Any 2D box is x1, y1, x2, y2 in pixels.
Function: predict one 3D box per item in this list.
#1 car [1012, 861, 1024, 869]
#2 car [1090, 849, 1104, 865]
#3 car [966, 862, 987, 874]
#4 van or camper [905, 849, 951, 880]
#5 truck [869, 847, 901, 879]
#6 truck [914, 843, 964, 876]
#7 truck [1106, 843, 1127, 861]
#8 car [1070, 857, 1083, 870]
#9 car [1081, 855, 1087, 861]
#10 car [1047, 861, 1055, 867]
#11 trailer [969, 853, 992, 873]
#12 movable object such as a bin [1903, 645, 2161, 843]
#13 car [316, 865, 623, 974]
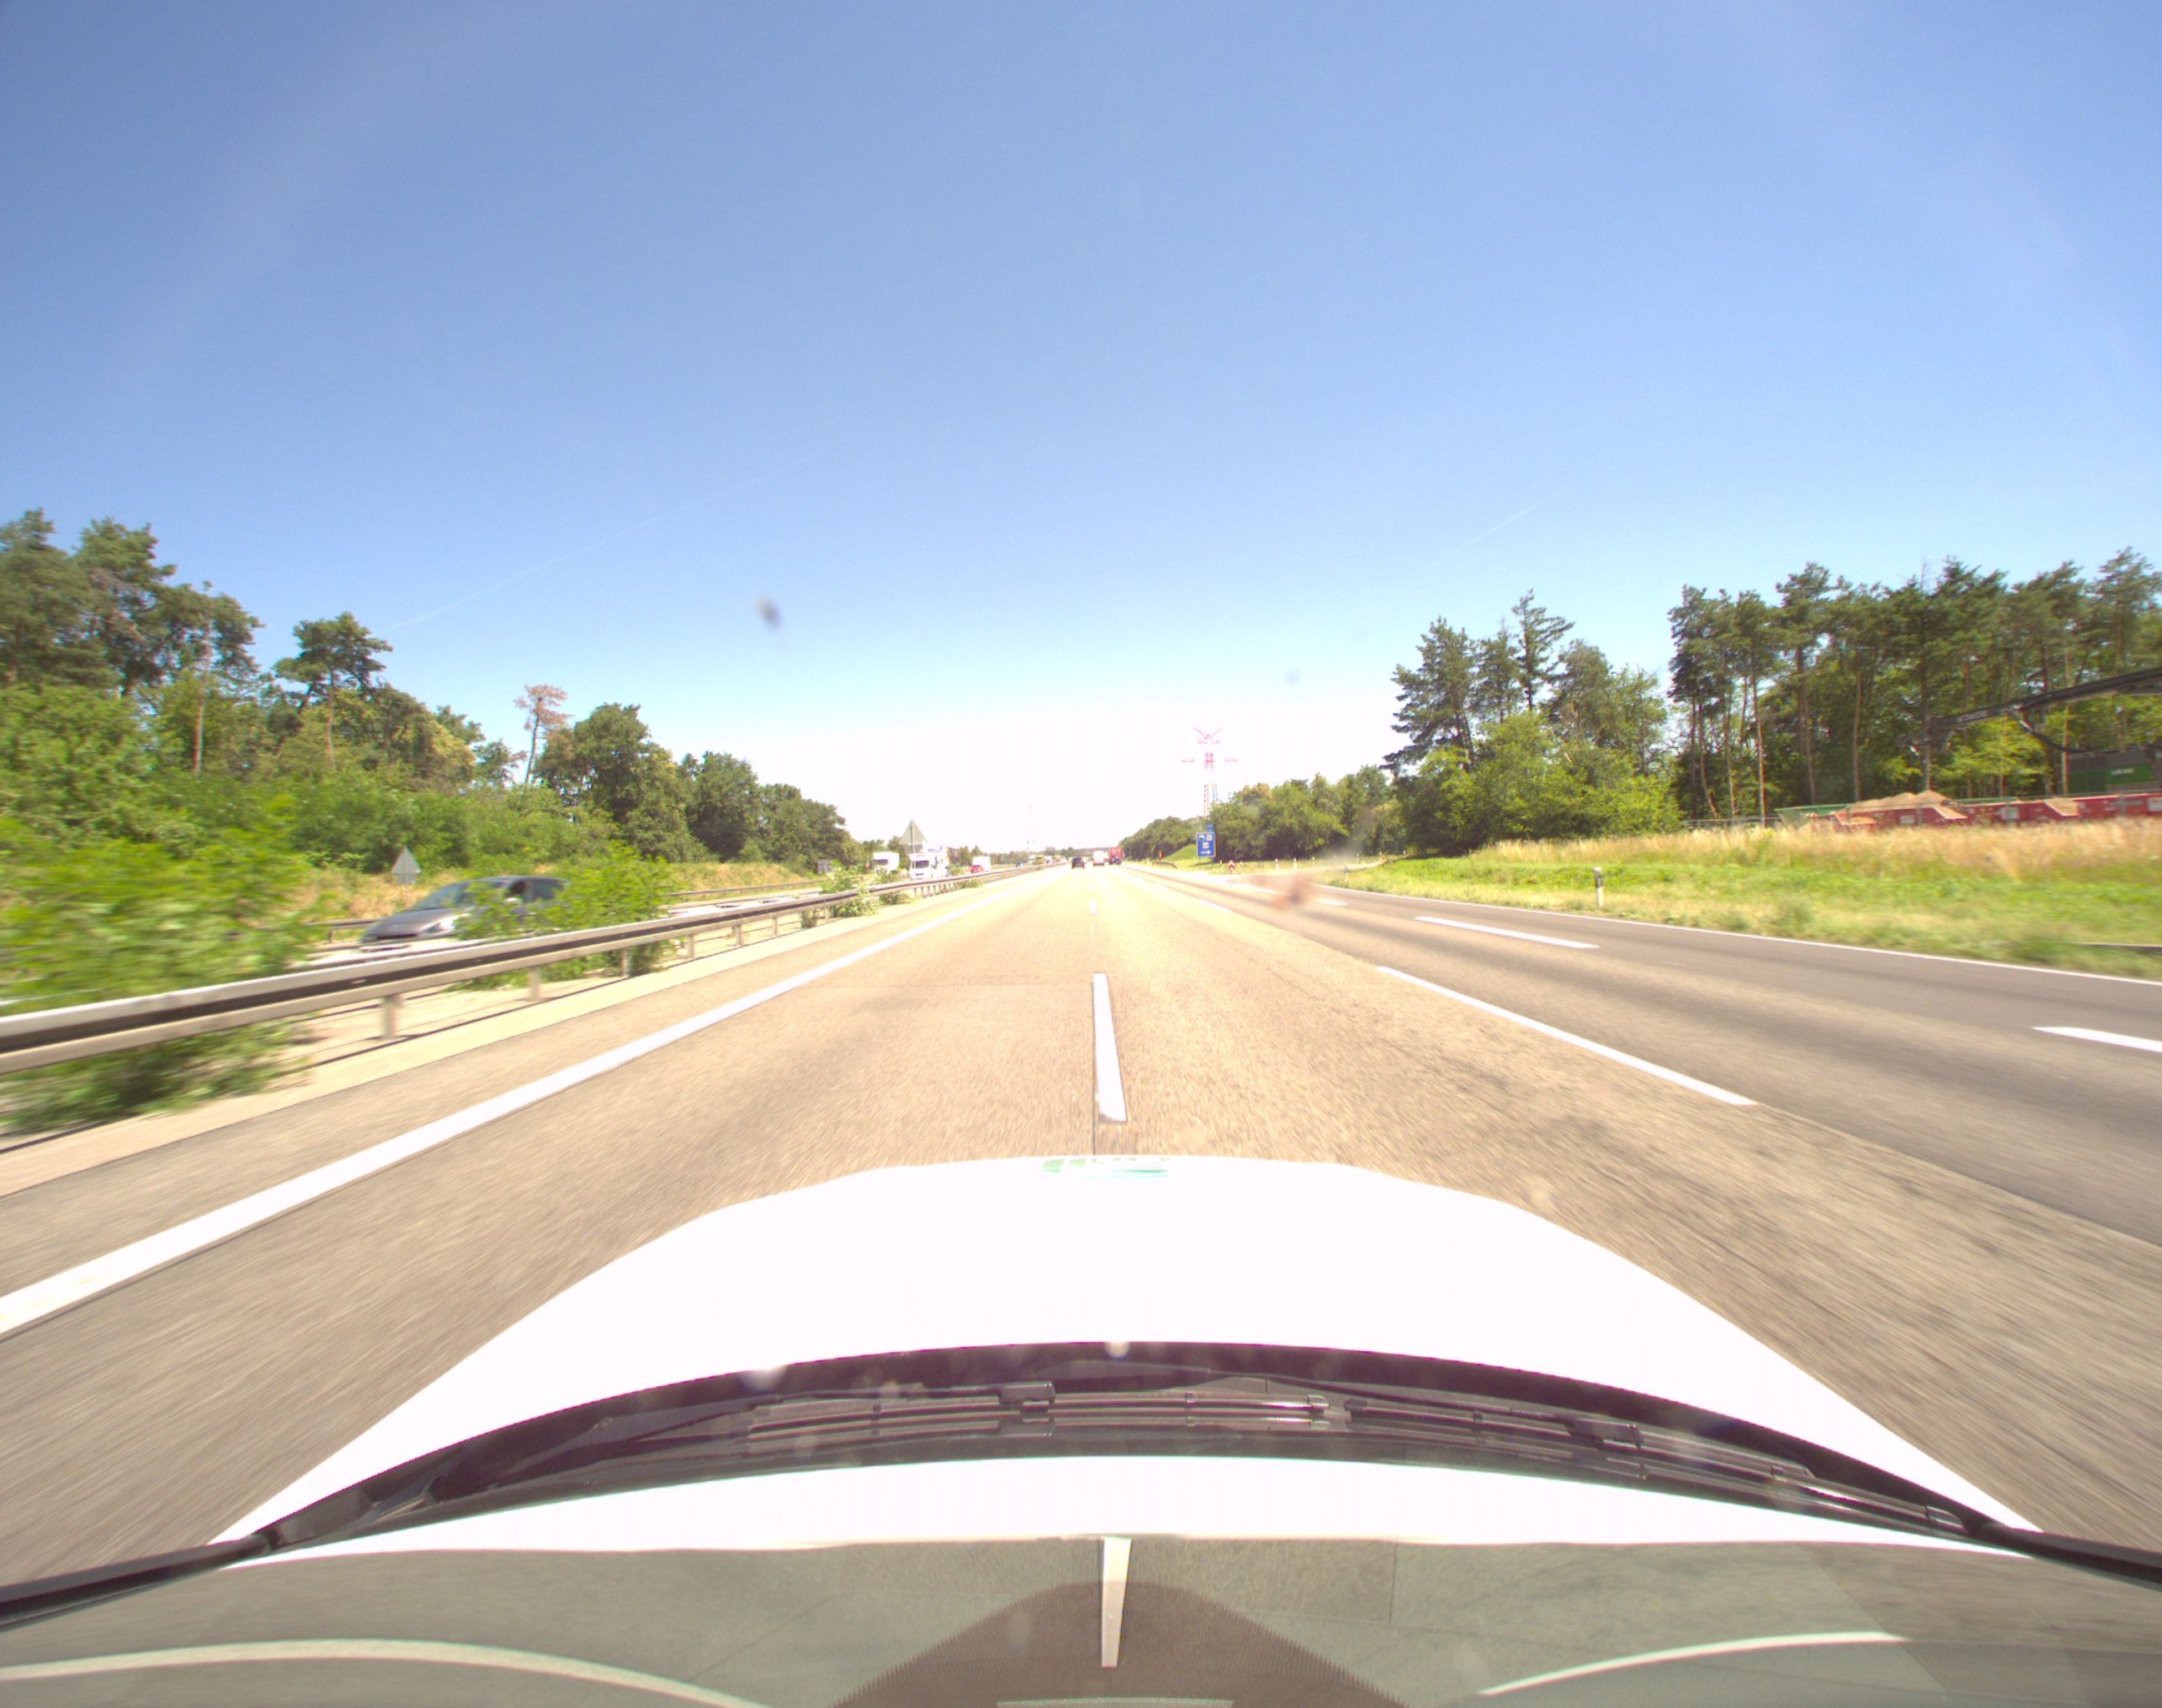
[{"bbox_3d":[-14.160,2.449,183.056,2.220,1.380,4.890,-4,0,0],"label":"car"},{"bbox_3d":[2.980,0.524,151.303,2.612,2.759,6.096,-1,0,1],"label":"car"},{"bbox_3d":[-14.508,1.961,113.291,2.221,1.380,4.691,-4,0,0],"label":"car"},{"bbox_3d":[-14.851,0.977,79.477,2.492,2.810,8.564,-3,0,2],"label":"van or camper"},{"bbox_3d":[-31.771,1.344,132.313,3.063,4.827,7.709,-5,0,-2],"label":"truck"},{"bbox_3d":[-18.949,0.730,110.270,3.315,3.996,16.868,-3,0,1],"label":"truck"},{"bbox_3d":[7.998,-0.403,186.673,4.316,3.941,16.080,-1,0,1],"label":"truck"},{"bbox_3d":[-0.637,1.409,122.797,1.987,1.750,4.000,-1,0,0],"label":"car"},{"bbox_3d":[0.789,1.110,213.464,1.741,1.634,4.004,-1,0,1],"label":"car"},{"bbox_3d":[-8.410,2.793,230.306,2.045,1.551,4.890,-4,0,0],"label":"car"},{"bbox_3d":[-14.506,1.245,118.187,2.469,2.747,5.074,-4,0,0],"label":"trailer"},{"bbox_3d":[46.375,-4.589,35.815,3.107,7.926,22.885,-1,0,15],"label":"movable object such as a bin"},{"bbox_3d":[-11.802,1.152,16.352,2.220,1.610,5.059,-4,0,0],"label":"car"}]
